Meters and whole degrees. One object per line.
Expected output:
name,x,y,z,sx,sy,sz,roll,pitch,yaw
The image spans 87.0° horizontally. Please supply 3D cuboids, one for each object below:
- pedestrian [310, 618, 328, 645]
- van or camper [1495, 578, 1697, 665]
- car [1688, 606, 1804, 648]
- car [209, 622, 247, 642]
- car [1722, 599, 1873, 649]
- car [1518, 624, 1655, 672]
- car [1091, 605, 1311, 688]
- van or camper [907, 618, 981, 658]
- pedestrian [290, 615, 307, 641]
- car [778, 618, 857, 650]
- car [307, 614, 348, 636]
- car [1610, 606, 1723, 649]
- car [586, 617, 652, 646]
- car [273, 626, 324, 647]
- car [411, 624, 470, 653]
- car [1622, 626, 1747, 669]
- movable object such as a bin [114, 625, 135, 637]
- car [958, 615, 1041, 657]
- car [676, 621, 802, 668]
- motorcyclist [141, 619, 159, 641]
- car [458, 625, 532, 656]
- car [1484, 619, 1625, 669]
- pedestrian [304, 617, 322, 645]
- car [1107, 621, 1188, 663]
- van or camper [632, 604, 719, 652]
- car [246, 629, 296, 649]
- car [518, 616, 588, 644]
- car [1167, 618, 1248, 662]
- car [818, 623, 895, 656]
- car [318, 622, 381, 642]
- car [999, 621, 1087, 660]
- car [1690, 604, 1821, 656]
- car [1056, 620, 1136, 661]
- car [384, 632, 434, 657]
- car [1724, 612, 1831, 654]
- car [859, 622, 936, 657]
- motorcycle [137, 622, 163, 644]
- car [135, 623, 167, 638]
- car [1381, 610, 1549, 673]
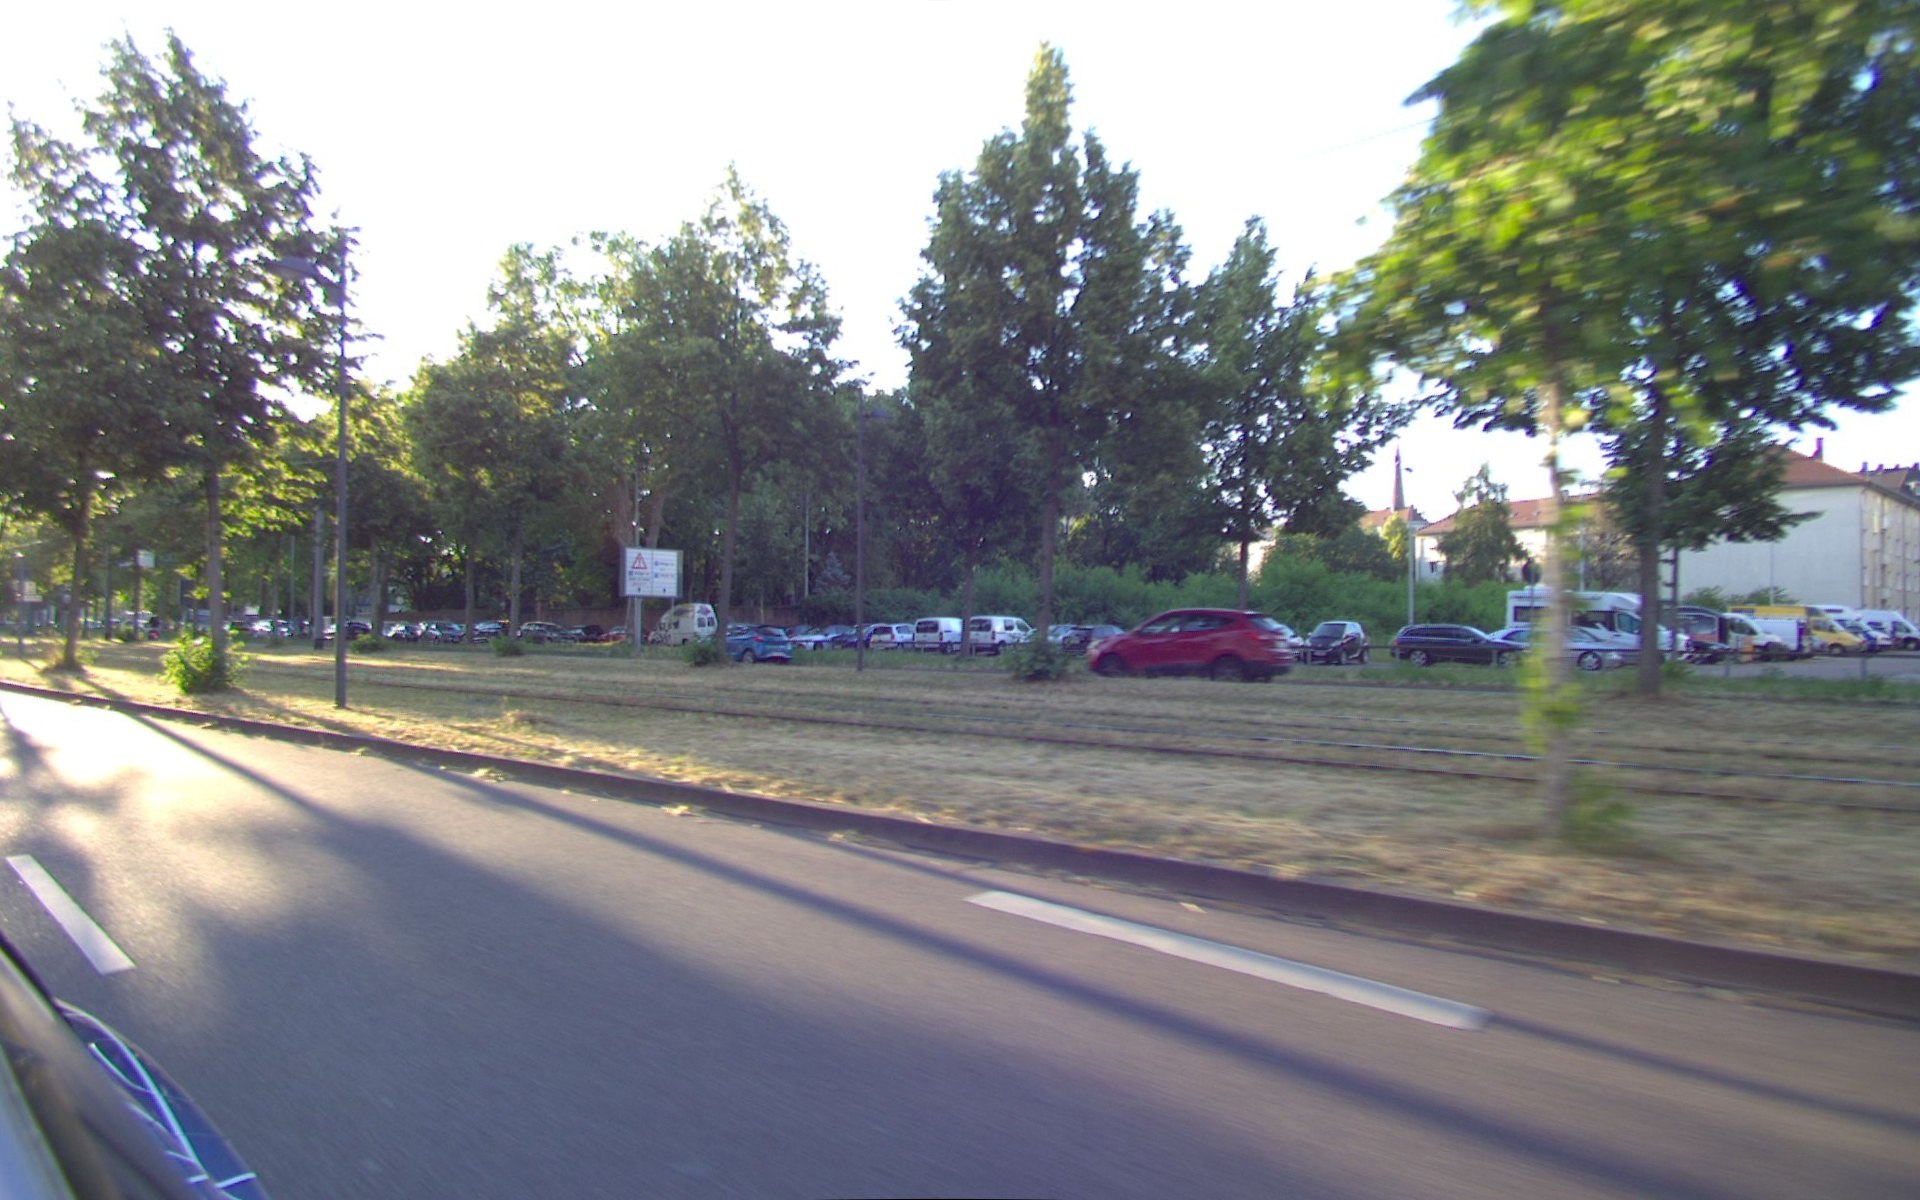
pedestrian,-43.485,2.138,68.613,0.862,1.772,0.688,-1,-2,29
van or camper,24.430,0.841,39.041,6.258,3.109,2.682,-2,-2,41
car,35.301,1.220,45.510,3.997,1.825,1.896,-2,-2,40
car,-62.998,2.728,87.118,4.001,1.652,1.971,-2,-2,44
car,45.860,1.309,55.590,1.968,2.616,6.102,1,-2,-39
car,22.907,1.708,37.068,3.997,1.652,1.896,-2,-2,40
car,5.072,0.952,21.504,4.173,1.590,1.868,-1,-2,35
van or camper,-0.745,1.814,48.798,1.990,1.805,3.964,-1,-2,26
pedestrian,-44.382,1.891,67.868,0.864,1.756,0.687,-1,-2,35
car,-7.541,1.802,53.884,1.919,1.652,3.949,-2,-2,38
car,-61.635,2.462,98.617,5.055,2.029,1.973,-2,-2,40
car,31.660,1.238,45.393,3.997,1.825,1.896,-2,-2,40
car,-21.488,1.980,63.715,3.992,1.763,1.976,-1,-2,36
car,-49.883,2.742,76.281,4.300,1.511,1.882,-1,-2,38
car,-32.643,2.416,63.580,4.159,1.763,1.972,-1,-2,42
car,29.603,1.902,41.410,3.997,1.652,1.896,-2,-2,40
movable object such as a bin,-94.741,3.489,114.722,1.722,1.383,1.538,-2,-2,38
car,1.874,1.653,47.249,2.009,1.858,3.950,-1,-2,37
car,-7.599,1.494,34.651,4.279,1.519,1.900,-1,-2,37
motorcyclist,-51.906,1.933,64.839,0.803,1.386,0.675,-1,-2,36
car,-27.806,2.391,60.513,4.781,1.763,1.975,-1,-2,36
car,20.768,1.495,35.430,3.997,1.652,1.896,-2,-2,40
pedestrian,-43.216,2.067,67.626,0.862,1.884,0.688,-1,-2,29
car,7.806,1.699,41.816,1.917,1.652,3.955,-1,-2,33
van or camper,-17.108,1.649,60.669,5.483,2.756,2.066,-1,-2,35
car,-54.328,3.027,79.775,4.550,1.510,1.975,-1,-2,38
car,-23.163,1.698,57.562,3.994,1.497,1.975,-1,-2,37
car,9.890,1.566,40.237,1.917,1.652,3.955,-1,-2,33
car,-5.279,1.998,51.948,1.917,1.652,3.955,-1,-2,33
car,-41.876,2.155,69.366,5.134,1.325,1.975,-1,-2,38
car,3.740,1.785,45.183,1.922,1.652,3.943,-2,-2,43
car,37.402,1.411,47.656,2.075,2.325,4.512,1,-2,-42
car,5.871,1.712,43.346,1.917,1.652,3.955,-1,-2,33
car,-36.662,2.941,67.277,3.837,1.572,1.783,-1,-2,42
car,41.743,1.664,51.731,1.969,2.029,4.005,1,-2,-42
car,-3.089,1.954,50.985,1.917,1.652,3.955,-1,-2,33
motorcycle,-51.890,2.102,64.822,2.340,1.347,0.675,-1,-2,36
car,-86.710,3.270,108.449,4.048,1.543,1.792,-2,-2,38
car,17.375,1.389,34.909,4.922,2.029,1.975,-1,-2,36
